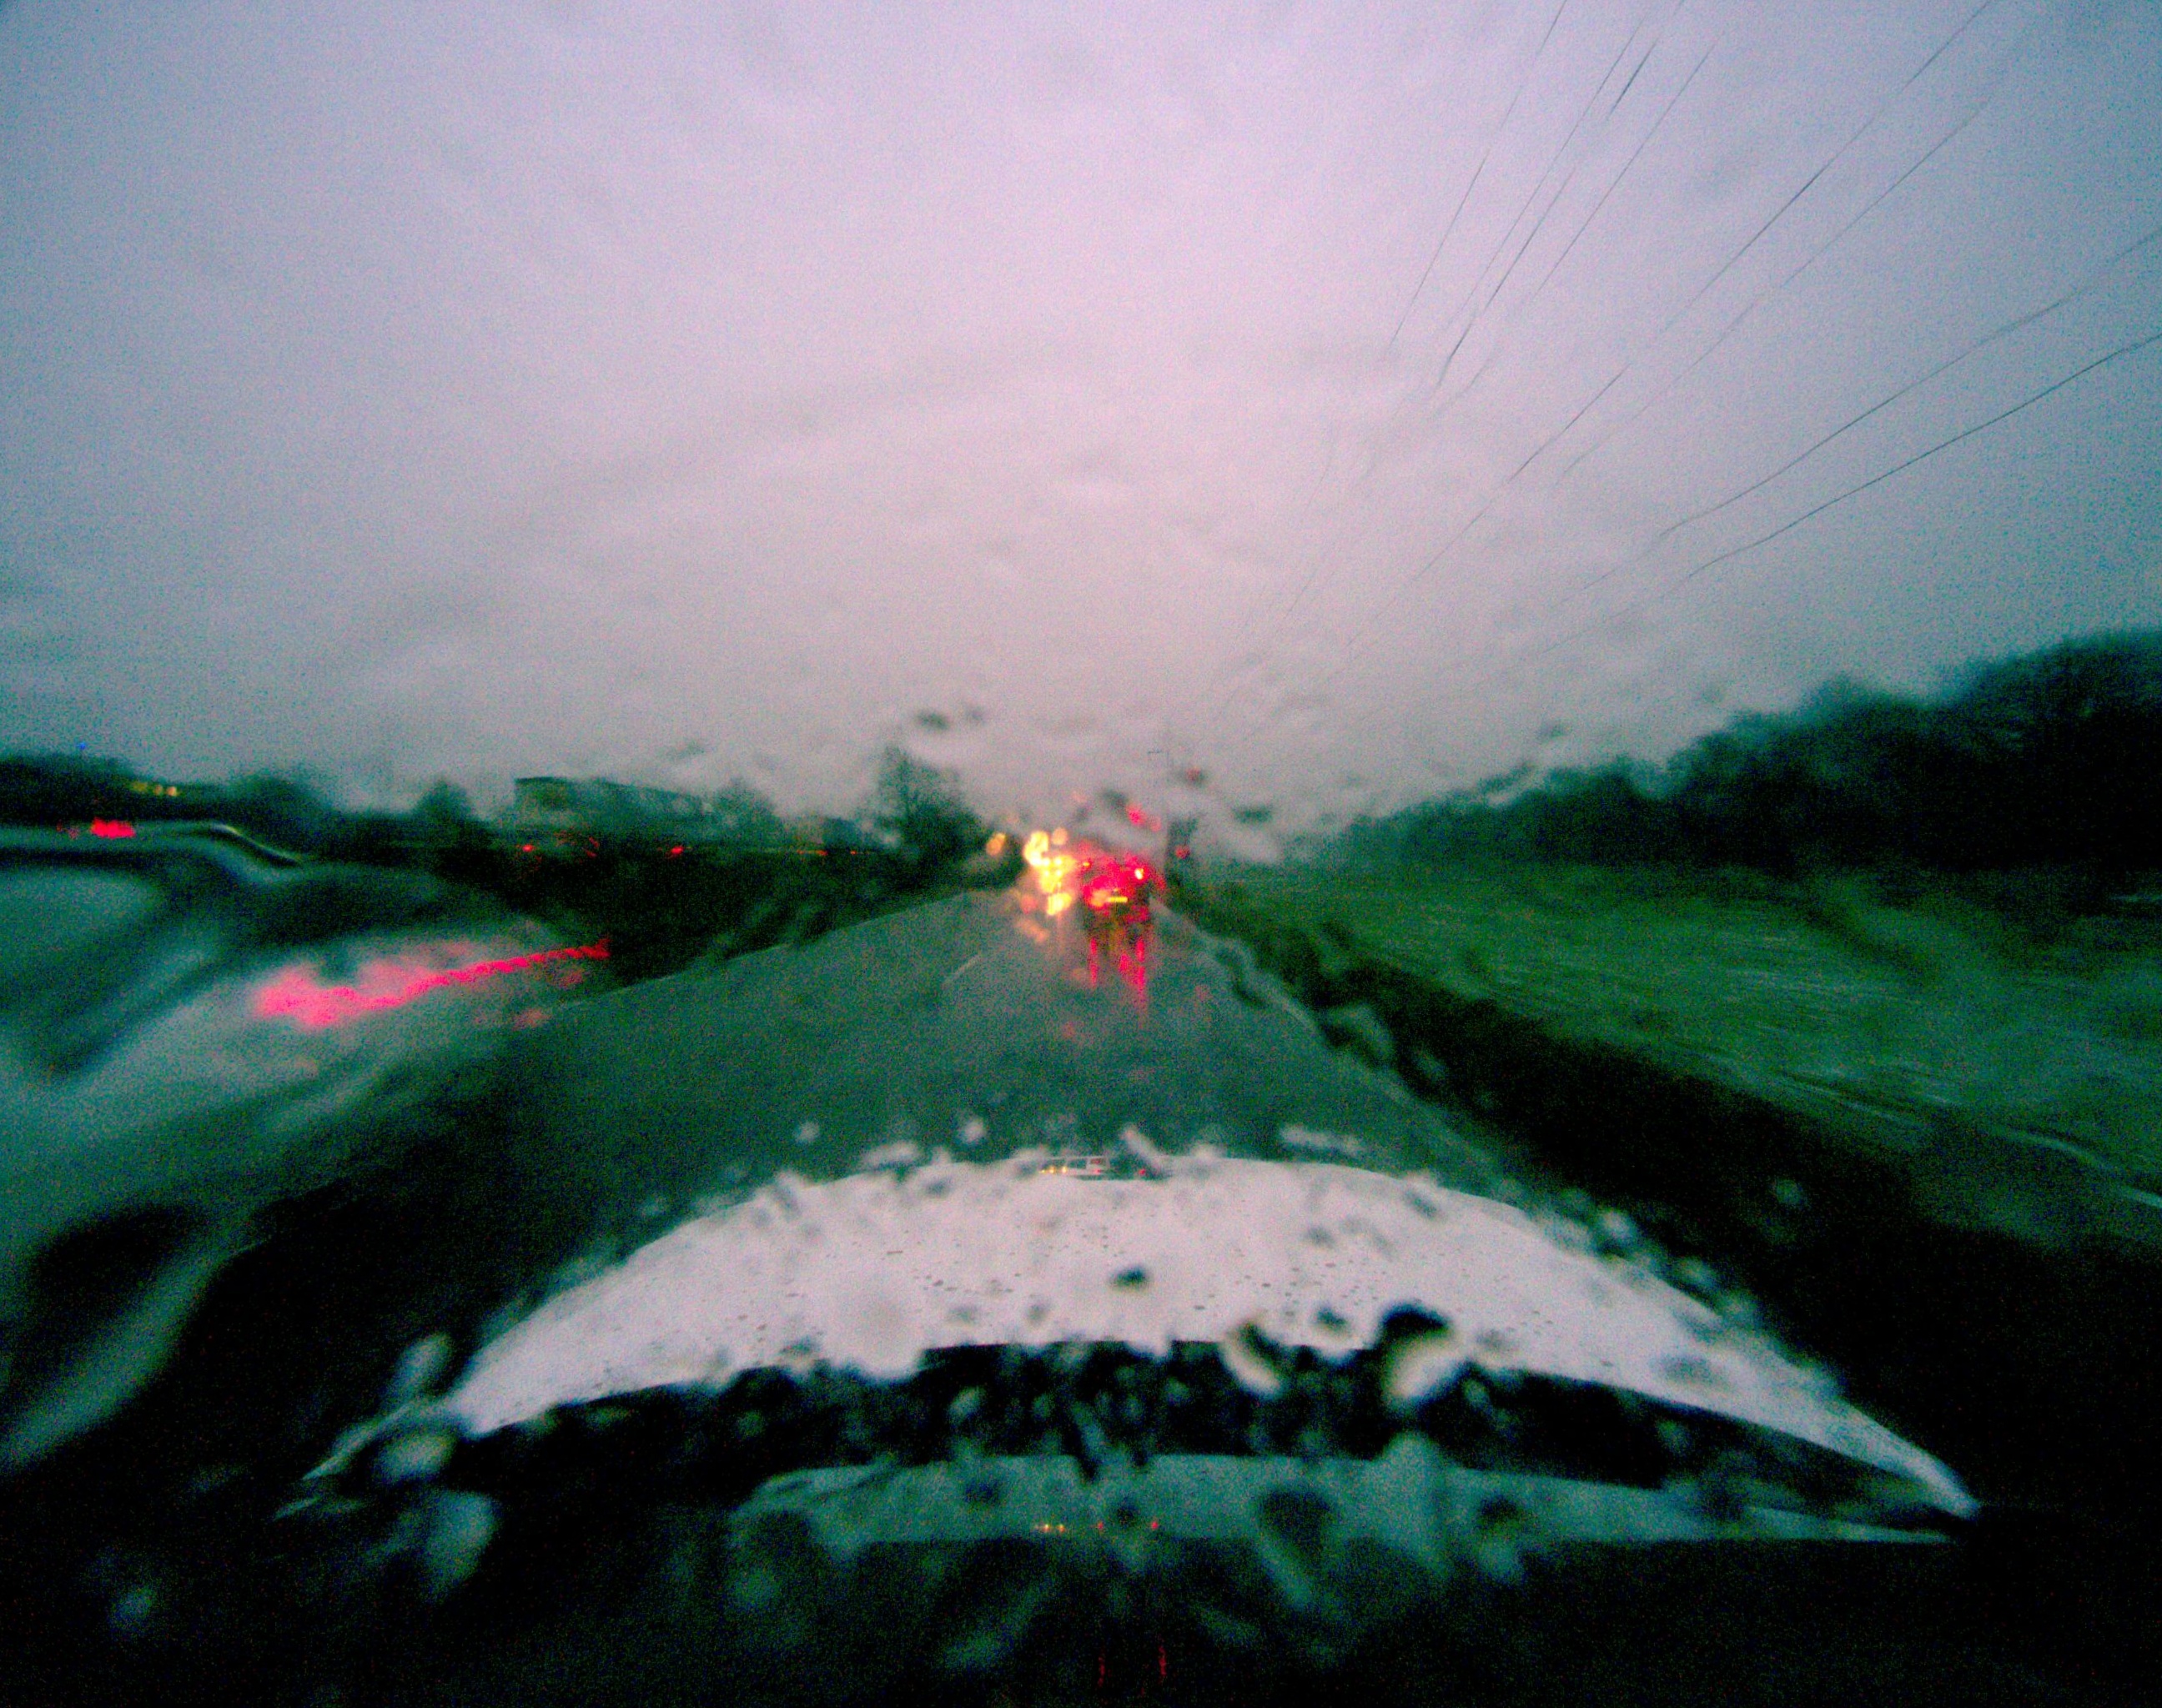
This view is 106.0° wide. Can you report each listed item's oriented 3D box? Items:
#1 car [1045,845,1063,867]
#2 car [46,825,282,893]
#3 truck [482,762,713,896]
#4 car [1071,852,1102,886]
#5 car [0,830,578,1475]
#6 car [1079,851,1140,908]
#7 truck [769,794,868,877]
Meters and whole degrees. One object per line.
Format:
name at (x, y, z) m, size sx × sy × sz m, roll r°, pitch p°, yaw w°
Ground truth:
car at (-3.413, 0.233, 103.670) m, size 1.946 × 2.674 × 6.270 m, roll -1°, pitch 0°, yaw 0°
car at (-30.145, 0.175, 27.100) m, size 1.986 × 2.014 × 5.106 m, roll -1°, pitch -1°, yaw 2°
truck at (-26.429, -1.129, 46.420) m, size 3.751 × 6.288 × 15.735 m, roll -1°, pitch -1°, yaw 0°
car at (0.320, 0.898, 50.701) m, size 1.846 × 2.014 × 3.999 m, roll -1°, pitch -1°, yaw -1°
car at (-3.568, 0.747, 1.979) m, size 1.779 × 1.591 × 4.488 m, roll -1°, pitch 0°, yaw 2°
car at (0.718, 0.643, 21.879) m, size 1.496 × 1.398 × 3.198 m, roll -1°, pitch -1°, yaw -1°
truck at (-29.734, -1.547, 96.037) m, size 7.552 × 7.713 × 39.966 m, roll 0°, pitch -1°, yaw -13°
